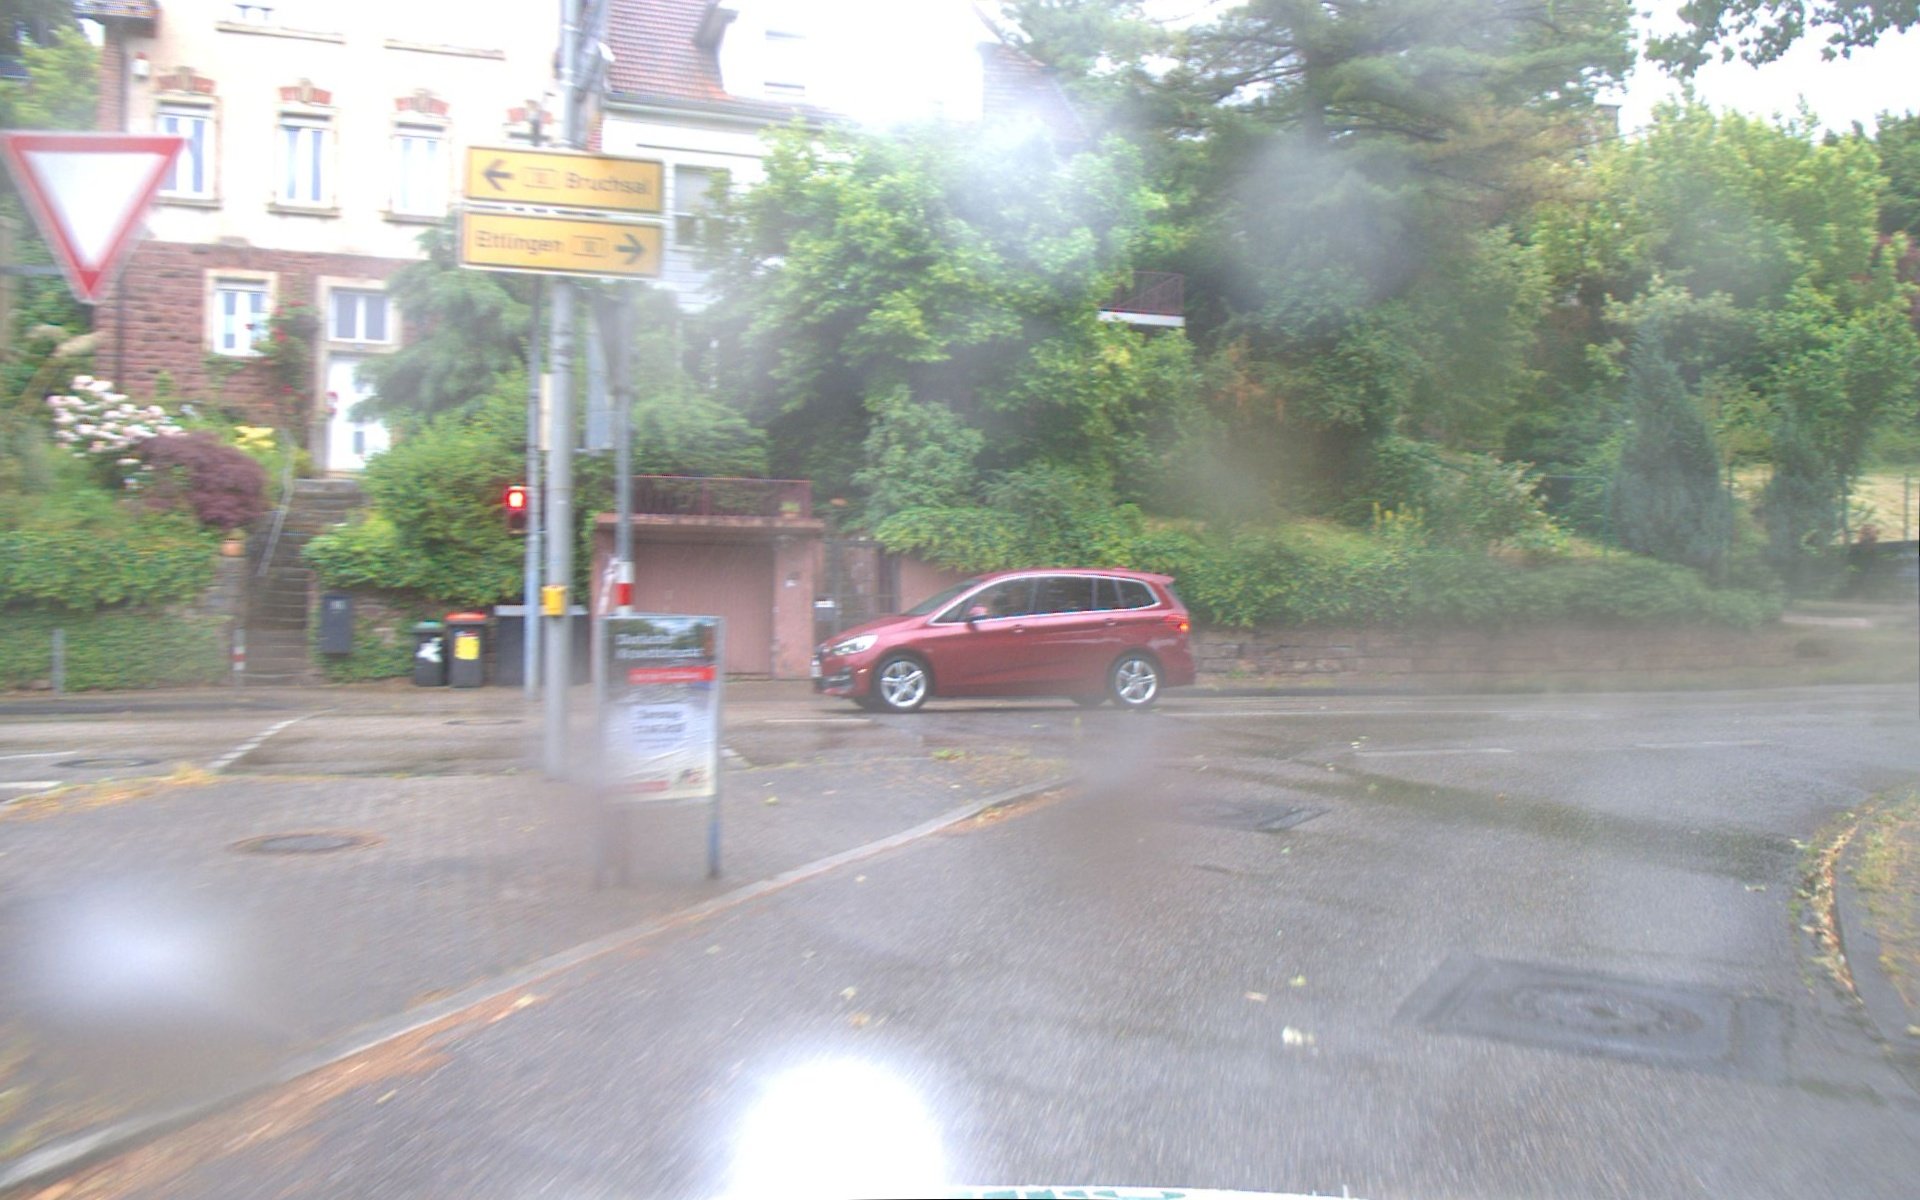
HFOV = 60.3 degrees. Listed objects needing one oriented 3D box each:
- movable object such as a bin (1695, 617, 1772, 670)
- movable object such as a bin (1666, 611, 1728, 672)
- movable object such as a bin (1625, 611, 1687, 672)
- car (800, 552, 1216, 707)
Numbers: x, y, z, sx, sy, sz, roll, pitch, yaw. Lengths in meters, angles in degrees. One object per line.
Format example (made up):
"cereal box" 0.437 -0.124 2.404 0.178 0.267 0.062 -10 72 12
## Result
"movable object such as a bin" 14.088 0.795 30.141 0.936 0.932 0.848 -1 -1 -17
"movable object such as a bin" 13.209 0.739 29.638 0.778 1.079 0.633 0 -1 -16
"movable object such as a bin" 12.426 0.740 29.532 0.739 1.079 0.686 0 -1 -16
"car" 0.525 0.307 19.149 4.493 1.629 1.767 -1 -1 -16
